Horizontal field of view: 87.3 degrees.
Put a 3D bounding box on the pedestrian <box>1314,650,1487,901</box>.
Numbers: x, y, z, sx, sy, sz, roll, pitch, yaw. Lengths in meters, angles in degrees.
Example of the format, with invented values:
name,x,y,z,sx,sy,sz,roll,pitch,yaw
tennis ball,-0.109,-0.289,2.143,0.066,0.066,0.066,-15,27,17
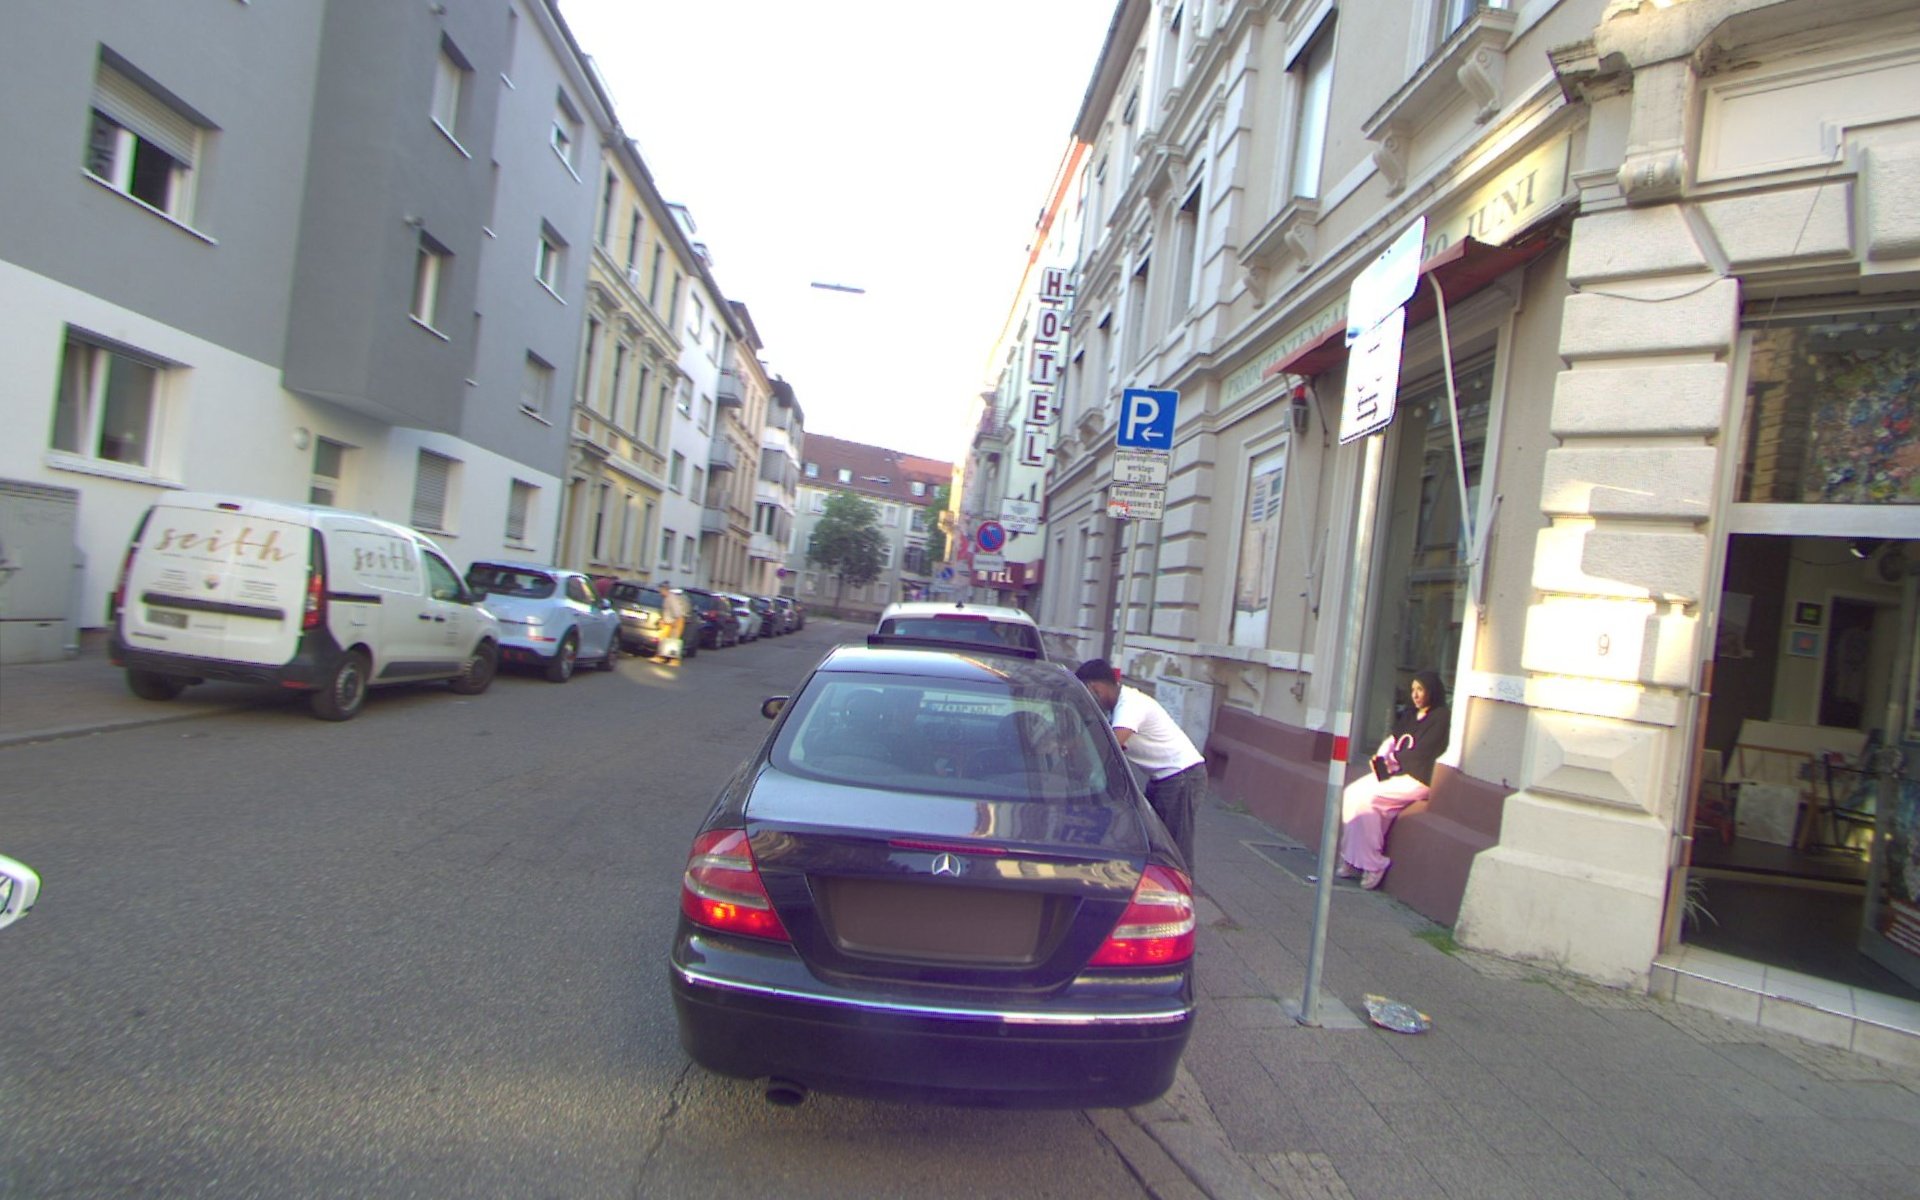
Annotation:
name,x,y,z,sx,sy,sz,roll,pitch,yaw
pedestrian,2.877,1.122,6.625,0.704,1.489,0.580,7,0,-3

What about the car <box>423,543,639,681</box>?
name,x,y,z,sx,sy,sz,roll,pitch,yaw
car,-6.251,0.124,15.224,1.738,1.583,4.359,7,0,-7

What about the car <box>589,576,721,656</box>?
name,x,y,z,sx,sy,sz,roll,pitch,yaw
car,-6.430,0.355,21.661,1.658,1.348,4.131,7,-1,-3

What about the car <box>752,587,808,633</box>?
name,x,y,z,sx,sy,sz,roll,pitch,yaw
car,-7.895,0.436,44.599,1.965,1.686,4.405,7,-1,-6

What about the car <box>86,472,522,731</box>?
name,x,y,z,sx,sy,sz,roll,pitch,yaw
car,-6.024,0.022,9.944,1.607,1.836,4.182,7,0,-4

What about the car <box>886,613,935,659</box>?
name,x,y,z,sx,sy,sz,roll,pitch,yaw
car,-1.741,1.220,35.368,1.636,1.478,3.757,1,0,-3

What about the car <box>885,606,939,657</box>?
name,x,y,z,sx,sy,sz,roll,pitch,yaw
car,-1.968,1.269,41.829,1.964,1.753,4.058,7,-1,-2

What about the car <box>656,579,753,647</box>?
name,x,y,z,sx,sy,sz,roll,pitch,yaw
car,-6.886,0.334,27.477,1.702,1.527,3.828,7,0,-3

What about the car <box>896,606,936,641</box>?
name,x,y,z,sx,sy,sz,roll,pitch,yaw
car,-2.541,1.293,57.389,1.964,1.729,3.998,7,-1,-4

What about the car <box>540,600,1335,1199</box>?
name,x,y,z,sx,sy,sz,roll,pitch,yaw
car,-0.070,0.841,4.902,1.855,1.425,4.728,7,0,0

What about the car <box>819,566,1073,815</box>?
name,x,y,z,sx,sy,sz,roll,pitch,yaw
car,-0.216,0.716,10.074,1.790,1.745,4.459,7,0,-3

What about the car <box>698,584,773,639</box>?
name,x,y,z,sx,sy,sz,roll,pitch,yaw
car,-7.182,0.351,32.492,1.606,1.490,3.752,7,0,-3

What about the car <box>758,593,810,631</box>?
name,x,y,z,sx,sy,sz,roll,pitch,yaw
car,-8.835,0.646,50.853,1.963,1.682,3.979,5,-2,-2

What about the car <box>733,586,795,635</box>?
name,x,y,z,sx,sy,sz,roll,pitch,yaw
car,-7.432,0.379,38.533,1.590,1.589,4.301,7,0,-3
